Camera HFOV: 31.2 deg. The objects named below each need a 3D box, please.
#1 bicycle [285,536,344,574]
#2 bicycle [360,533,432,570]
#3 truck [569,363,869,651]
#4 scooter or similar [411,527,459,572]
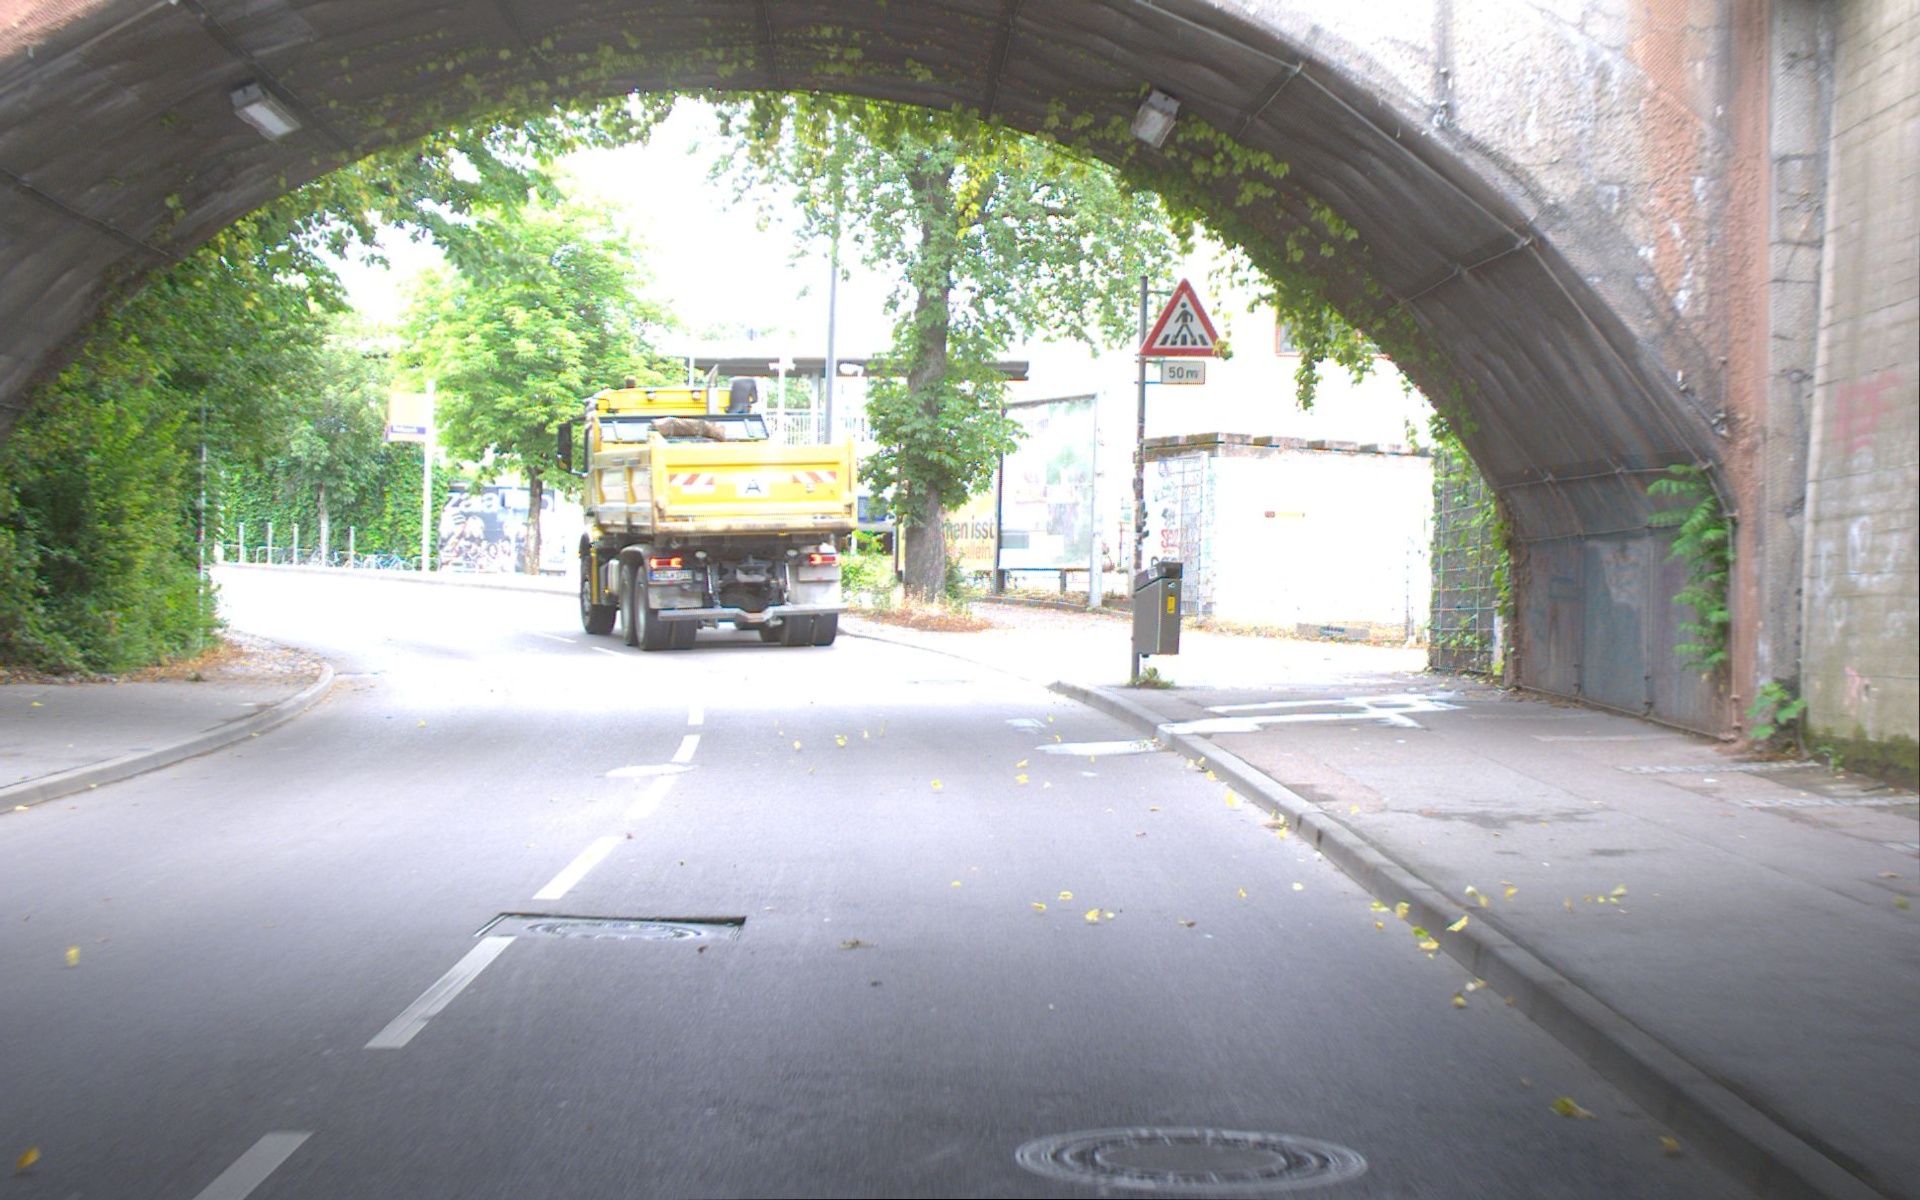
[{"bbox_3d":[-18.468,-1.288,98.317,1.487,0.986,0.694,4,0,-22],"label":"bicycle"},{"bbox_3d":[-16.093,-1.390,98.138,1.966,0.862,0.511,6,-1,-40],"label":"bicycle"},{"bbox_3d":[-3.377,-1.305,45.813,2.764,3.471,8.132,0,3,-13],"label":"truck"},{"bbox_3d":[-14.864,-1.431,97.395,1.187,1.202,0.468,5,-1,-36],"label":"scooter or similar"}]
